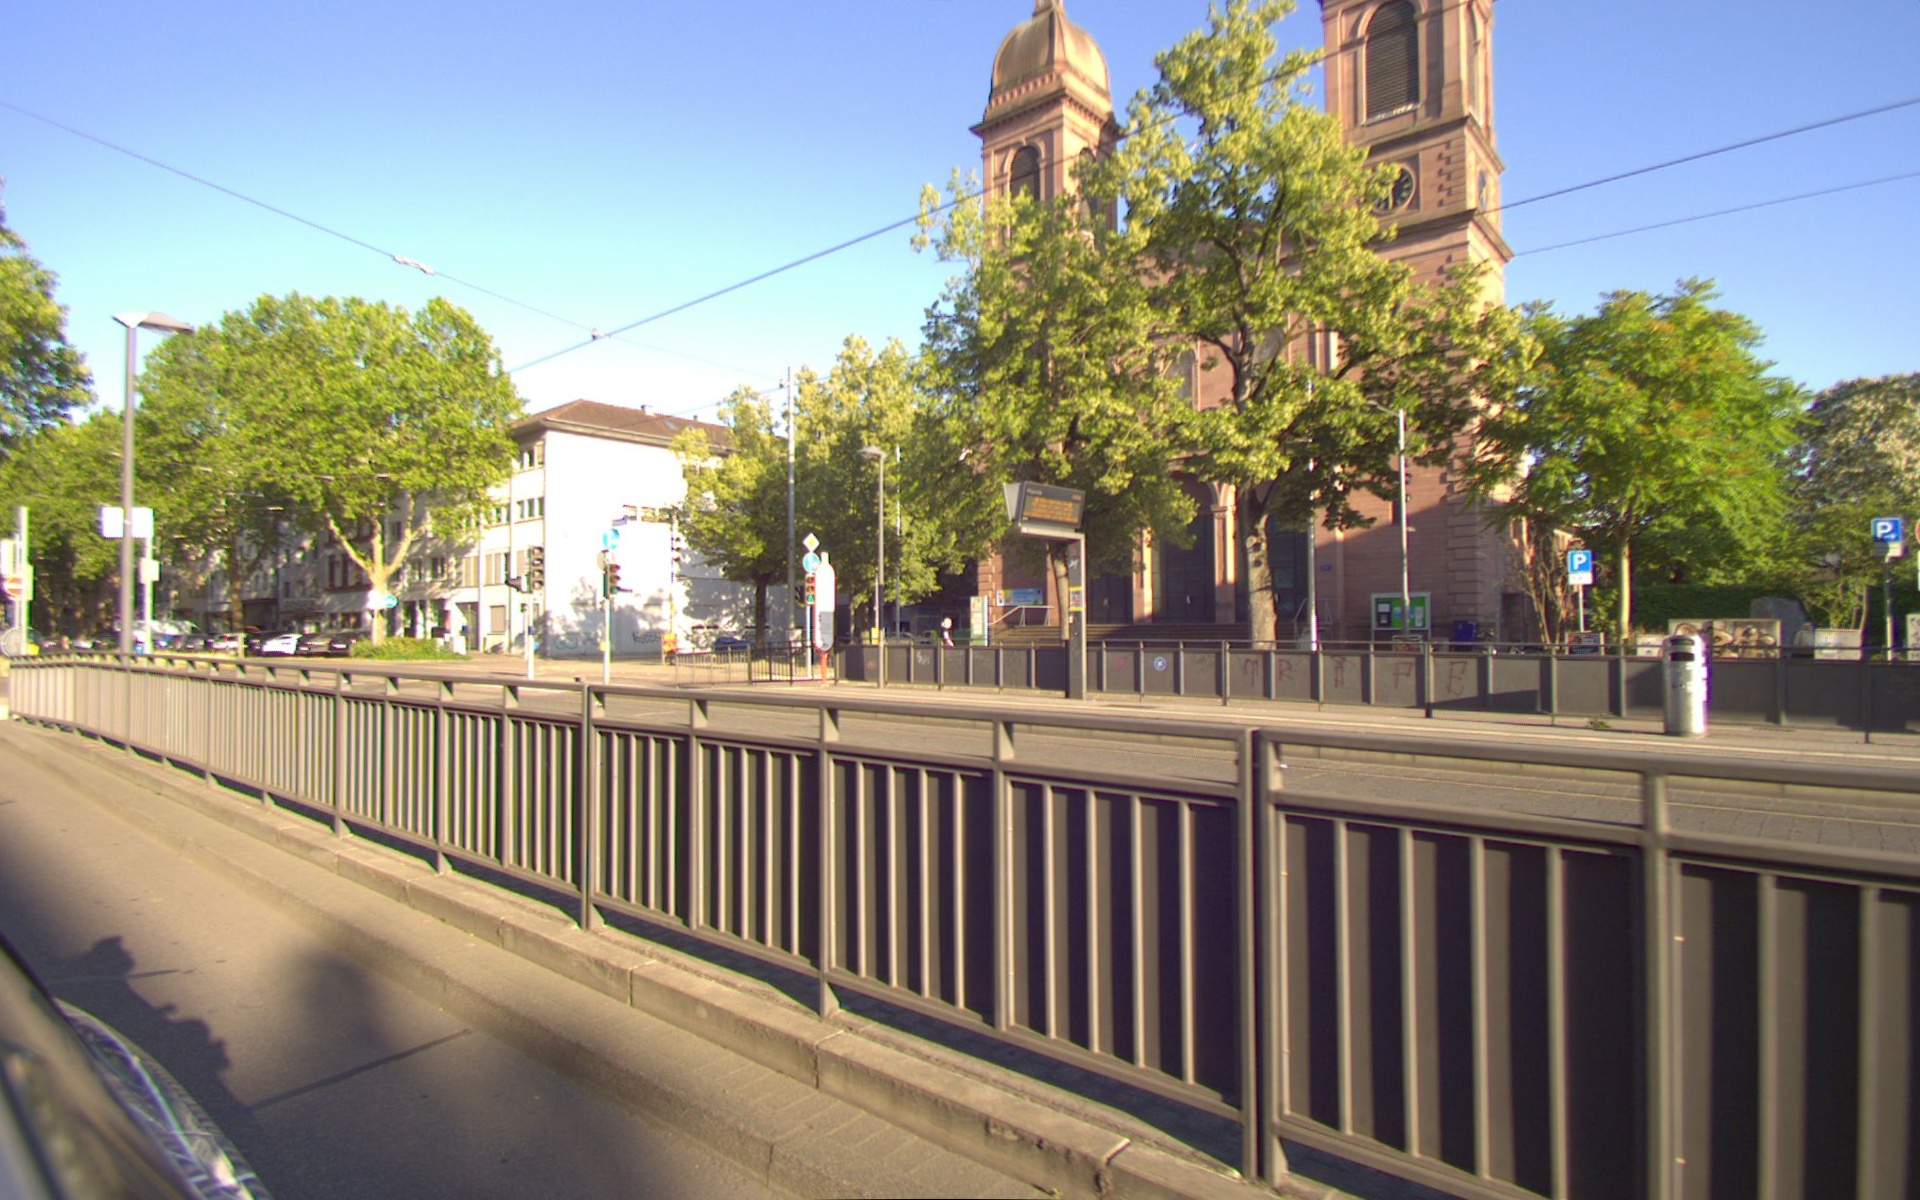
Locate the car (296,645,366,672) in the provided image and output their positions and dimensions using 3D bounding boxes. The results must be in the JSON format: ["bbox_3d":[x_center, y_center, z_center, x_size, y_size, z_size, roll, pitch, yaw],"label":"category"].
[{"bbox_3d":[-36.816,3.386,59.346,1.717,1.443,3.972,-2,-2,-2],"label":"car"}]

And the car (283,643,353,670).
[{"bbox_3d":[-38.963,3.417,61.512,1.805,1.516,3.972,0,-2,-2],"label":"car"}]

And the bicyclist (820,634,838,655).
[{"bbox_3d":[-8.591,2.924,66.398,0.632,1.341,0.956,-2,-3,41],"label":"bicyclist"}]

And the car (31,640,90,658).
[{"bbox_3d":[-92.316,5.020,103.922,1.996,1.719,4.183,-2,-3,37],"label":"car"}]

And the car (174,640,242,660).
[{"bbox_3d":[-57.879,3.818,77.968,1.883,1.469,4.251,0,-2,5],"label":"car"}]

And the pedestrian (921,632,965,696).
[{"bbox_3d":[-0.490,1.806,28.992,0.832,1.773,0.909,-3,-2,42],"label":"pedestrian"}]

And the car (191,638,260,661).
[{"bbox_3d":[-53.168,3.550,73.332,1.881,1.626,4.257,0,-2,0],"label":"car"}]

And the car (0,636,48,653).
[{"bbox_3d":[-125.488,5.996,135.725,2.072,2.230,4.943,0,-2,-2],"label":"car"}]

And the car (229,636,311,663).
[{"bbox_3d":[-43.996,3.129,64.637,2.127,1.697,4.249,-1,-2,6],"label":"car"}]

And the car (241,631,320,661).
[{"bbox_3d":[-45.546,3.060,67.953,1.508,1.958,4.221,-1,-2,25],"label":"car"}]

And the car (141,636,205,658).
[{"bbox_3d":[-68.020,4.027,87.511,1.981,1.830,3.982,-1,-2,14],"label":"car"}]

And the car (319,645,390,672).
[{"bbox_3d":[-34.096,3.285,57.082,1.747,1.443,3.972,0,-2,-2],"label":"car"}]

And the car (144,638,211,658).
[{"bbox_3d":[-63.679,3.890,82.444,1.981,1.630,3.982,-1,-2,14],"label":"car"}]

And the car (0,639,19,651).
[{"bbox_3d":[-143.396,6.695,151.202,3.936,1.827,1.876,1,-3,-40],"label":"car"}]

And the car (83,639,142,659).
[{"bbox_3d":[-82.448,4.741,98.527,1.981,1.830,3.982,-1,-2,14],"label":"car"}]

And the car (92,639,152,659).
[{"bbox_3d":[-79.865,4.645,96.519,1.981,1.830,3.982,-1,-2,14],"label":"car"}]

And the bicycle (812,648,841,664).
[{"bbox_3d":[-8.728,3.662,66.207,0.632,0.988,1.962,-2,-3,41],"label":"bicycle"}]

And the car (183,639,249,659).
[{"bbox_3d":[-55.560,3.640,75.641,1.582,1.470,4.251,-1,-2,5],"label":"car"}]

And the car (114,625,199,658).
[{"bbox_3d":[-70.456,3.629,88.862,2.161,2.721,5.582,-1,-2,16],"label":"car"}]

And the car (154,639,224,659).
[{"bbox_3d":[-61.261,3.903,80.459,1.985,1.530,3.973,-1,-2,20],"label":"car"}]

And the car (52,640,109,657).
[{"bbox_3d":[-89.005,4.907,102.444,1.981,1.719,3.982,-1,-2,14],"label":"car"}]

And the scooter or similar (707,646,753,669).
[{"bbox_3d":[-11.907,2.944,52.384,2.447,1.135,1.082,-2,-3,42],"label":"scooter or similar"}]

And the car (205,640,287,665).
[{"bbox_3d":[-47.757,3.481,67.783,1.634,1.569,4.221,-1,-2,25],"label":"car"}]

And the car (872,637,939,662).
[{"bbox_3d":[-3.332,3.015,61.614,3.998,1.409,1.792,-3,-3,41],"label":"car"}]

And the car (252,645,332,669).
[{"bbox_3d":[-41.297,3.505,62.654,2.123,1.388,4.256,0,-2,0],"label":"car"}]
